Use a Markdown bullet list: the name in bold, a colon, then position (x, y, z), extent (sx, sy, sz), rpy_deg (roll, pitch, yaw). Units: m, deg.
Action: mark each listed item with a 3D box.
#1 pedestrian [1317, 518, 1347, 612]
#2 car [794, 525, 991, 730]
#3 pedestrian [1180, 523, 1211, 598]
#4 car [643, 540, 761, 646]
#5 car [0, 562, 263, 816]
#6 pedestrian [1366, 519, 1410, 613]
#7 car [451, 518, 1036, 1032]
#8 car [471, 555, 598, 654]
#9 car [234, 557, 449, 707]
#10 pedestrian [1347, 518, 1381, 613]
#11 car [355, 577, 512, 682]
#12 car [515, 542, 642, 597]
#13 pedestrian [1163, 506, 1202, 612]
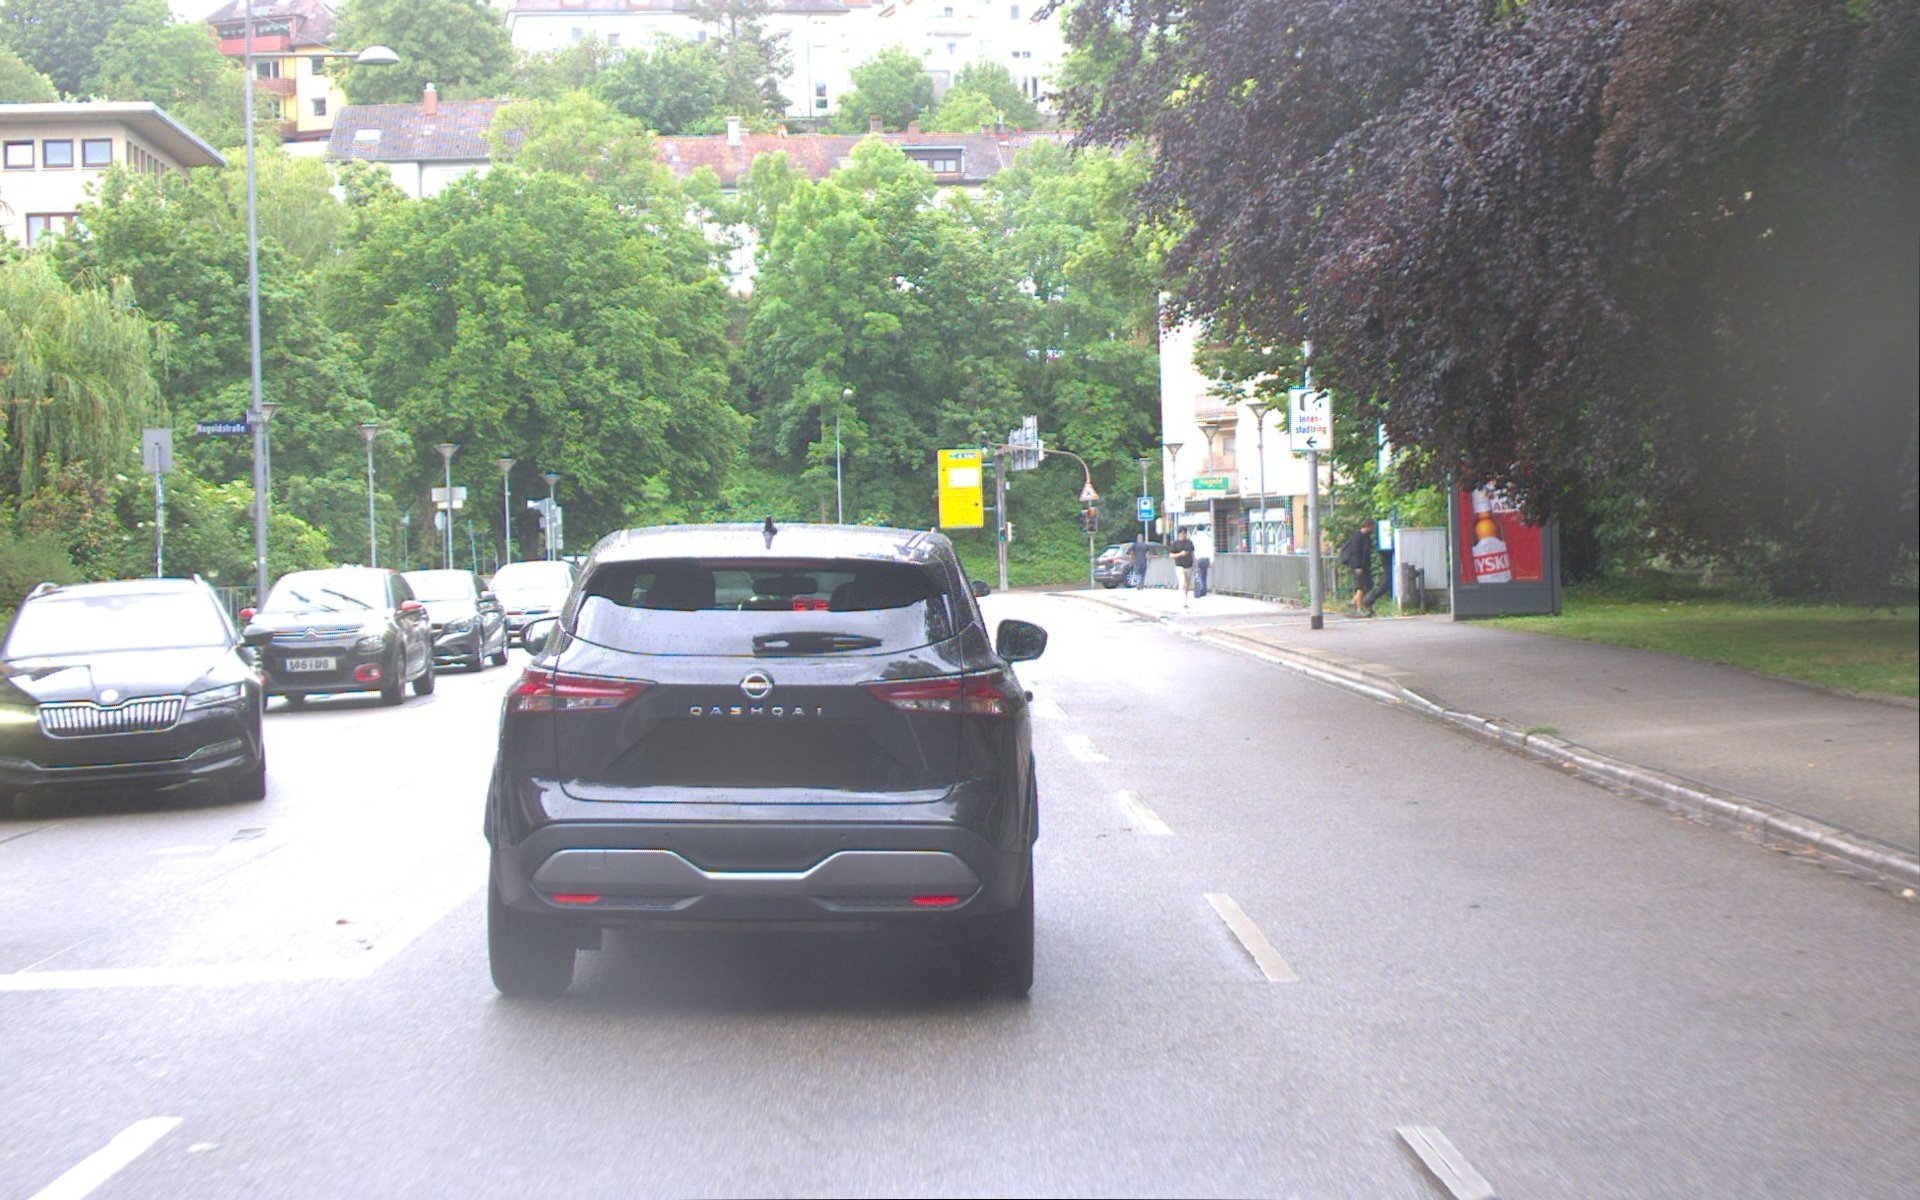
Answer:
- **pedestrian**: position (6.556, -0.612, 60.546), extent (0.475, 1.645, 0.490), rpy_deg (1, 0, 11)
- **car**: position (-0.564, 0.216, 31.516), extent (1.622, 1.703, 3.771), rpy_deg (-2, 1, 1)
- **pedestrian**: position (5.693, -0.963, 83.134), extent (0.618, 1.773, 0.778), rpy_deg (-2, 1, -1)
- **car**: position (-4.517, -0.144, 60.565), extent (1.763, 1.752, 3.635), rpy_deg (-2, 1, 0)
- **car**: position (-5.699, 0.540, 23.161), extent (1.746, 1.464, 4.218), rpy_deg (-3, 1, -13)
- **pedestrian**: position (7.596, -0.601, 61.004), extent (0.699, 1.645, 0.628), rpy_deg (1, 0, 11)
- **car**: position (-0.709, 0.544, 12.733), extent (1.806, 1.584, 4.000), rpy_deg (1, 0, -1)
- **car**: position (-7.457, 0.053, 60.482), extent (1.750, 1.628, 3.635), rpy_deg (-2, 1, 0)
- **car**: position (-6.752, 0.308, 37.897), extent (1.676, 1.464, 4.217), rpy_deg (-3, 1, -2)
- **pedestrian**: position (7.091, -0.606, 60.365), extent (0.545, 1.645, 0.490), rpy_deg (1, 0, 11)
- **car**: position (-7.321, 0.389, 48.073), extent (1.676, 1.291, 3.752), rpy_deg (-3, 1, -2)
- **car**: position (-15.292, -1.235, 137.911), extent (4.638, 1.993, 1.999), rpy_deg (-2, 1, 10)
- **pedestrian**: position (4.606, -0.844, 71.151), extent (0.768, 2.176, 0.711), rpy_deg (1, 0, 2)
